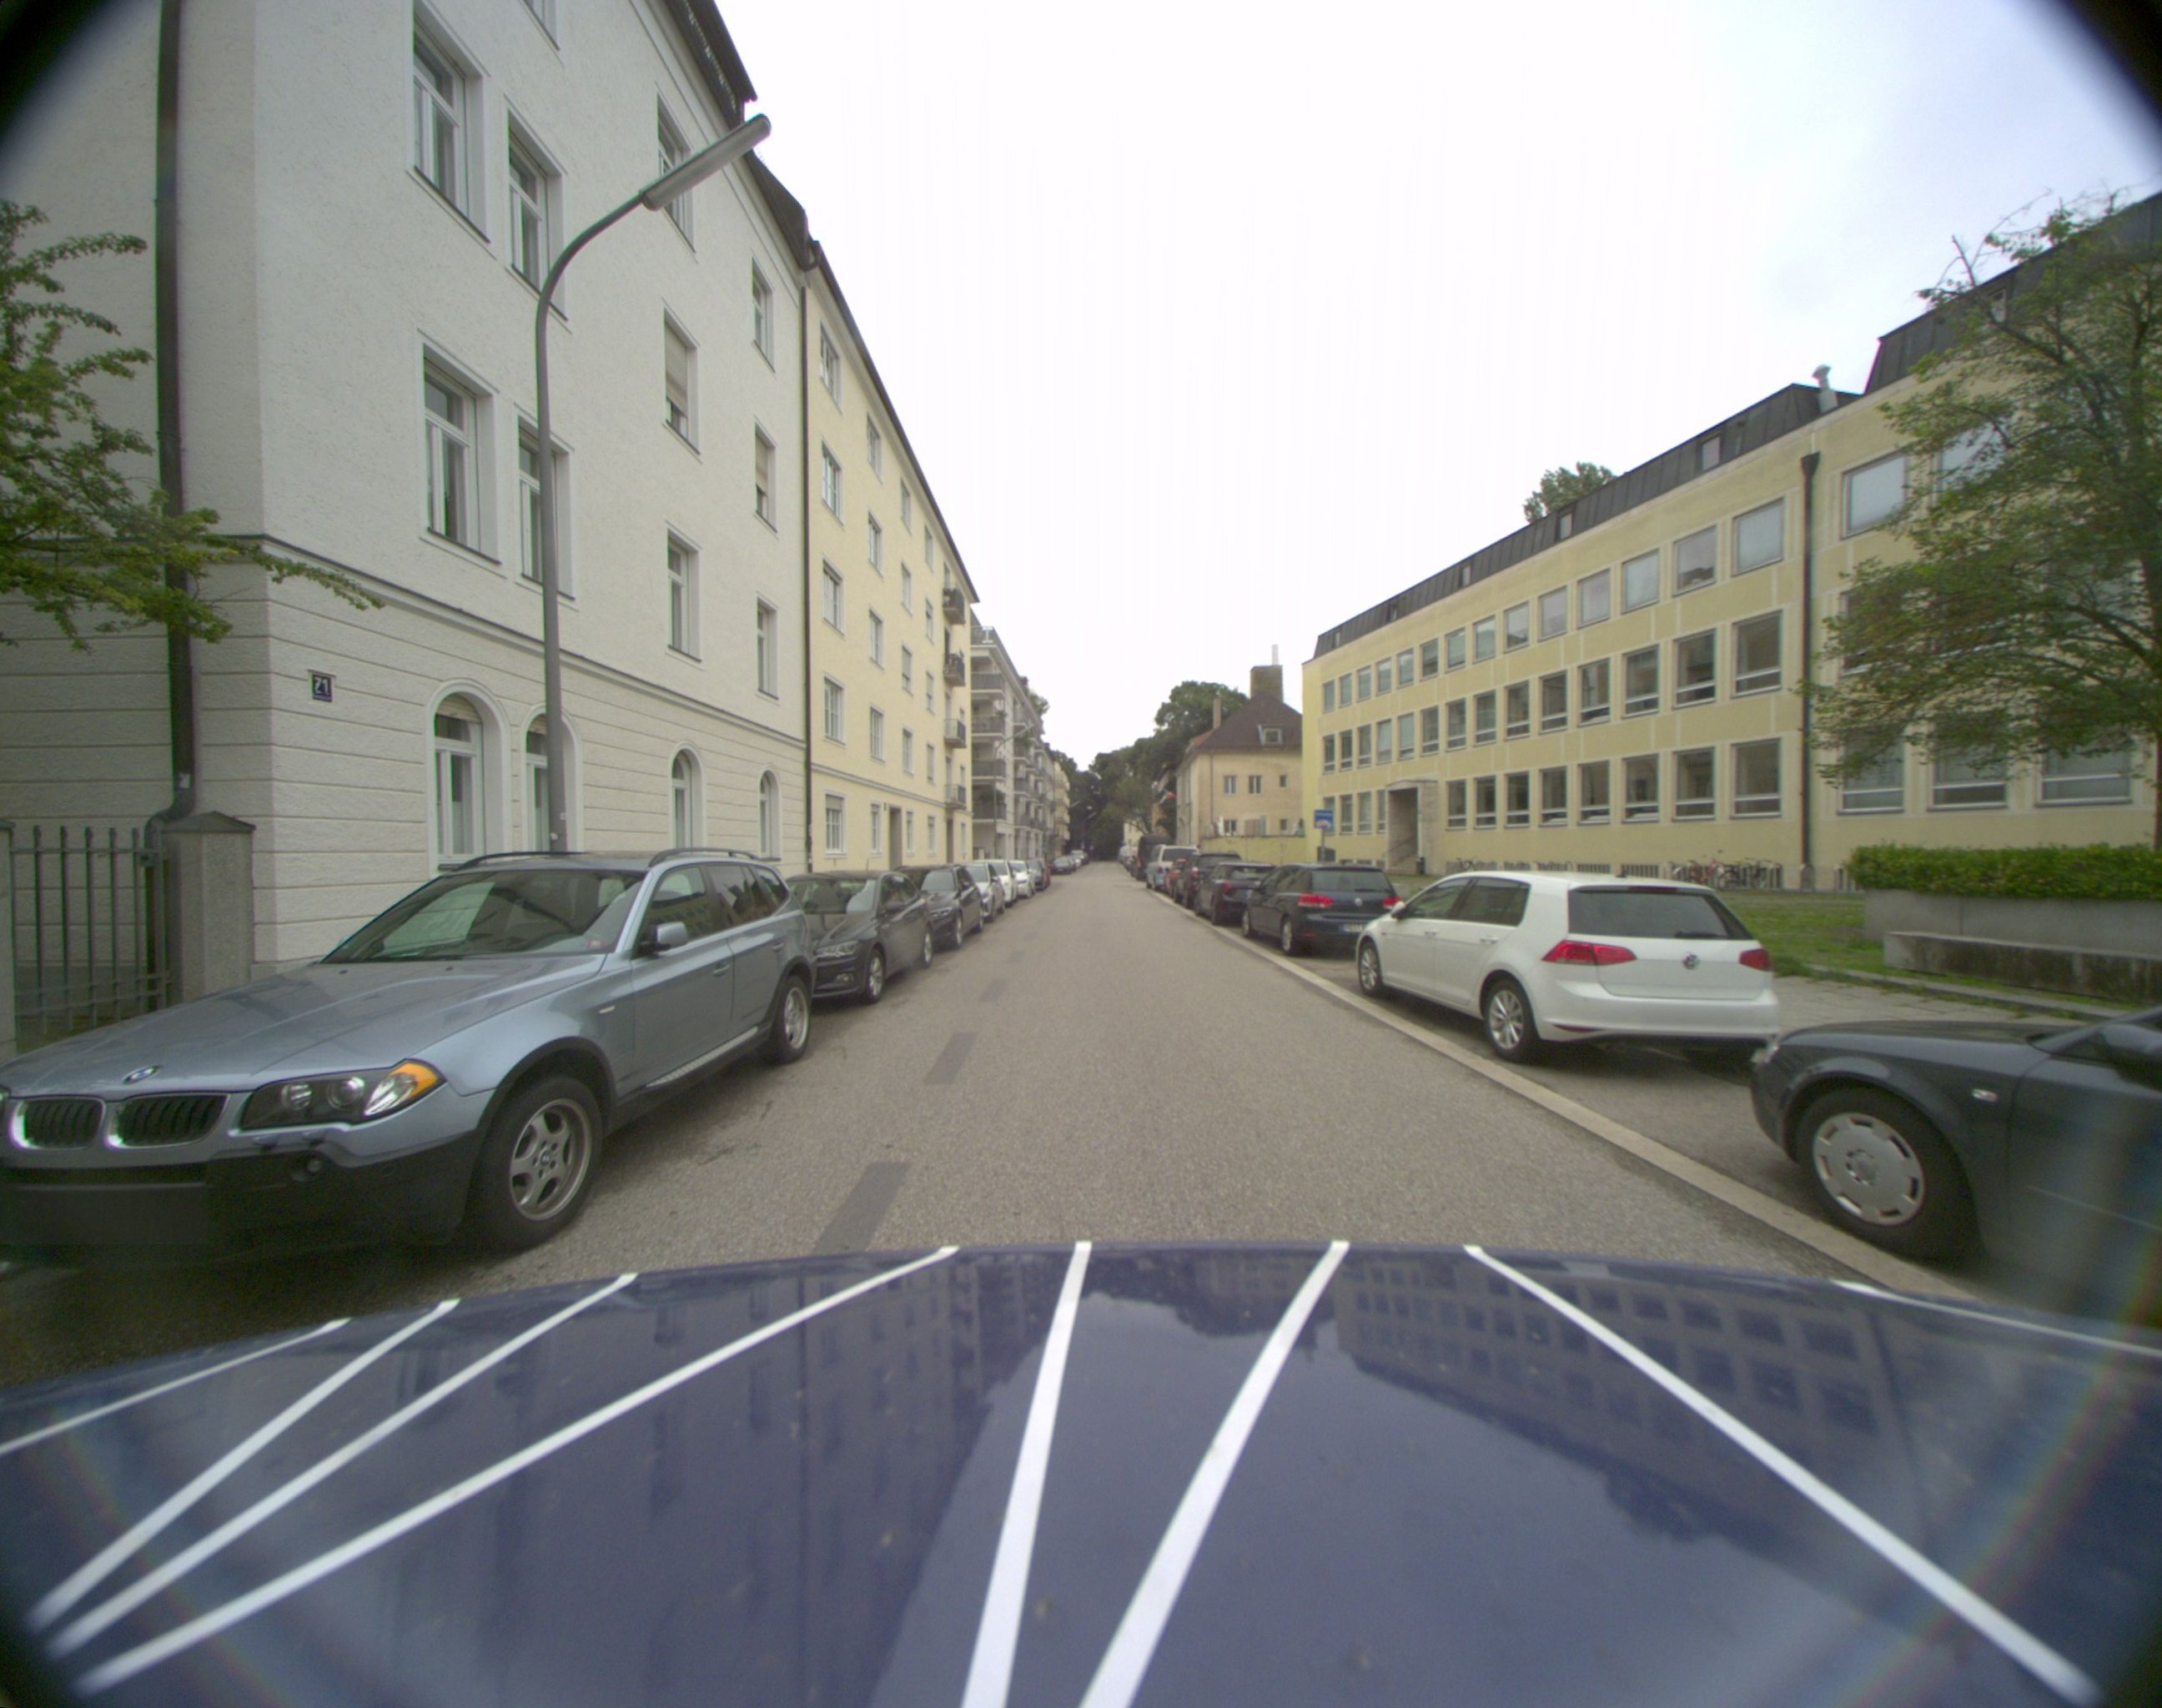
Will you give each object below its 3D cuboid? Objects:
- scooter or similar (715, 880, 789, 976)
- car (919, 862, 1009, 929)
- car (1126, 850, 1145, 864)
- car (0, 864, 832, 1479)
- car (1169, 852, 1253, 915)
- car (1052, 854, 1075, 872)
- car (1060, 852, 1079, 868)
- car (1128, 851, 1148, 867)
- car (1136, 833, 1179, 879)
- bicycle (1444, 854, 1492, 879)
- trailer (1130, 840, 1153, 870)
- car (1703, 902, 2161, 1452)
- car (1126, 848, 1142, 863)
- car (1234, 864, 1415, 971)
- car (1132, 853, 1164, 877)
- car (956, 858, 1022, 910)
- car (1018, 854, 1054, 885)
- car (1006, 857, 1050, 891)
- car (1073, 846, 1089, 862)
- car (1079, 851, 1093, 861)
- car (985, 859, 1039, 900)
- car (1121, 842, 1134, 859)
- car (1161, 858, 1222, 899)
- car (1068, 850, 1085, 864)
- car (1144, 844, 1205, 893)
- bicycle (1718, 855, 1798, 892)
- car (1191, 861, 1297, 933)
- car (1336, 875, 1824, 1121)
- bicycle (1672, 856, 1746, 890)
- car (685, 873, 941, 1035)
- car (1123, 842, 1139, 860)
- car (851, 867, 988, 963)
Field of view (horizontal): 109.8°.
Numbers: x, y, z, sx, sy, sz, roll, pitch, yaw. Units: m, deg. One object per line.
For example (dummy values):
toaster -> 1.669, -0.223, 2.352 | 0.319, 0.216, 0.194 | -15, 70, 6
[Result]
scooter or similar -> -4.448, 0.971, 10.336 | 0.486, 1.157, 1.172 | -1, 1, -1
car -> -2.879, 0.979, 19.542 | 1.683, 1.419, 4.166 | -1, 1, 0
car -> 6.030, 0.309, 84.630 | 1.818, 1.444, 3.927 | -1, 1, 1
car -> -3.060, 0.934, 4.359 | 1.726, 1.625, 4.457 | -1, 1, 1
car -> 3.872, 0.814, 23.312 | 1.748, 1.656, 4.448 | 3, 0, 0
car -> -1.485, 0.747, 63.798 | 1.784, 1.385, 4.245 | -1, 1, -2
car -> -1.077, 0.586, 73.290 | 1.766, 1.449, 3.747 | -1, 1, 1
car -> 5.519, 0.466, 73.611 | 1.767, 1.505, 3.842 | 0, 1, 2
car -> 4.563, 0.108, 46.386 | 2.302, 2.630, 5.654 | 1, 0, 3
bicycle -> 16.826, 0.549, 33.030 | 1.954, 1.008, 0.580 | -2, 1, -16
trailer -> 5.410, 0.048, 68.148 | 1.817, 2.521, 3.390 | 3, 1, 6
car -> 3.949, 0.986, 1.523 | 1.759, 1.445, 4.395 | 1, 0, 0
car -> 6.282, 0.149, 90.675 | 1.817, 1.723, 3.649 | -1, 1, 2
car -> 3.896, 0.942, 12.900 | 1.661, 1.445, 3.973 | 1, 0, -2
car -> 4.517, 0.708, 51.636 | 1.706, 1.485, 3.488 | -1, 1, -3
car -> -2.928, 0.906, 24.987 | 1.683, 1.473, 4.166 | -1, 1, 0
car -> -2.352, 0.791, 40.439 | 1.683, 1.489, 3.823 | -1, 1, 0
car -> -2.385, 0.874, 35.035 | 1.683, 1.402, 4.421 | -1, 1, 0
car -> 0.017, -0.019, 100.392 | 1.871, 2.002, 4.268 | -1, 1, 3
car -> 0.772, 0.319, 116.166 | 1.871, 1.455, 4.268 | -1, 1, 3
car -> -2.618, 0.924, 29.709 | 1.683, 1.402, 4.442 | -1, 1, 0
car -> 7.214, -0.500, 117.356 | 1.880, 2.539, 4.370 | -1, 1, 3
car -> 4.096, 0.872, 28.705 | 1.748, 1.379, 3.918 | -1, 0, 1
car -> -0.495, 0.338, 84.963 | 1.766, 1.449, 3.747 | -1, 1, 1
car -> 4.009, 0.574, 33.336 | 1.933, 1.967, 5.021 | 0, 1, -1
bicycle -> 19.656, 0.557, 22.065 | 1.953, 1.008, 0.625 | -1, 1, -9
car -> 3.733, 0.918, 18.010 | 1.684, 1.445, 3.869 | 1, 0, 0
car -> 3.919, 0.995, 6.953 | 1.661, 1.445, 4.072 | 1, 0, -2
bicycle -> 19.409, 0.586, 23.480 | 1.953, 1.008, 0.625 | -1, 1, -9
car -> -2.998, 1.031, 9.476 | 1.683, 1.419, 4.086 | -1, 1, 1
car -> 6.655, -0.414, 100.858 | 2.104, 2.418, 4.550 | -1, 1, 4
car -> -2.881, 1.018, 14.501 | 1.683, 1.419, 4.390 | -1, 1, 0
